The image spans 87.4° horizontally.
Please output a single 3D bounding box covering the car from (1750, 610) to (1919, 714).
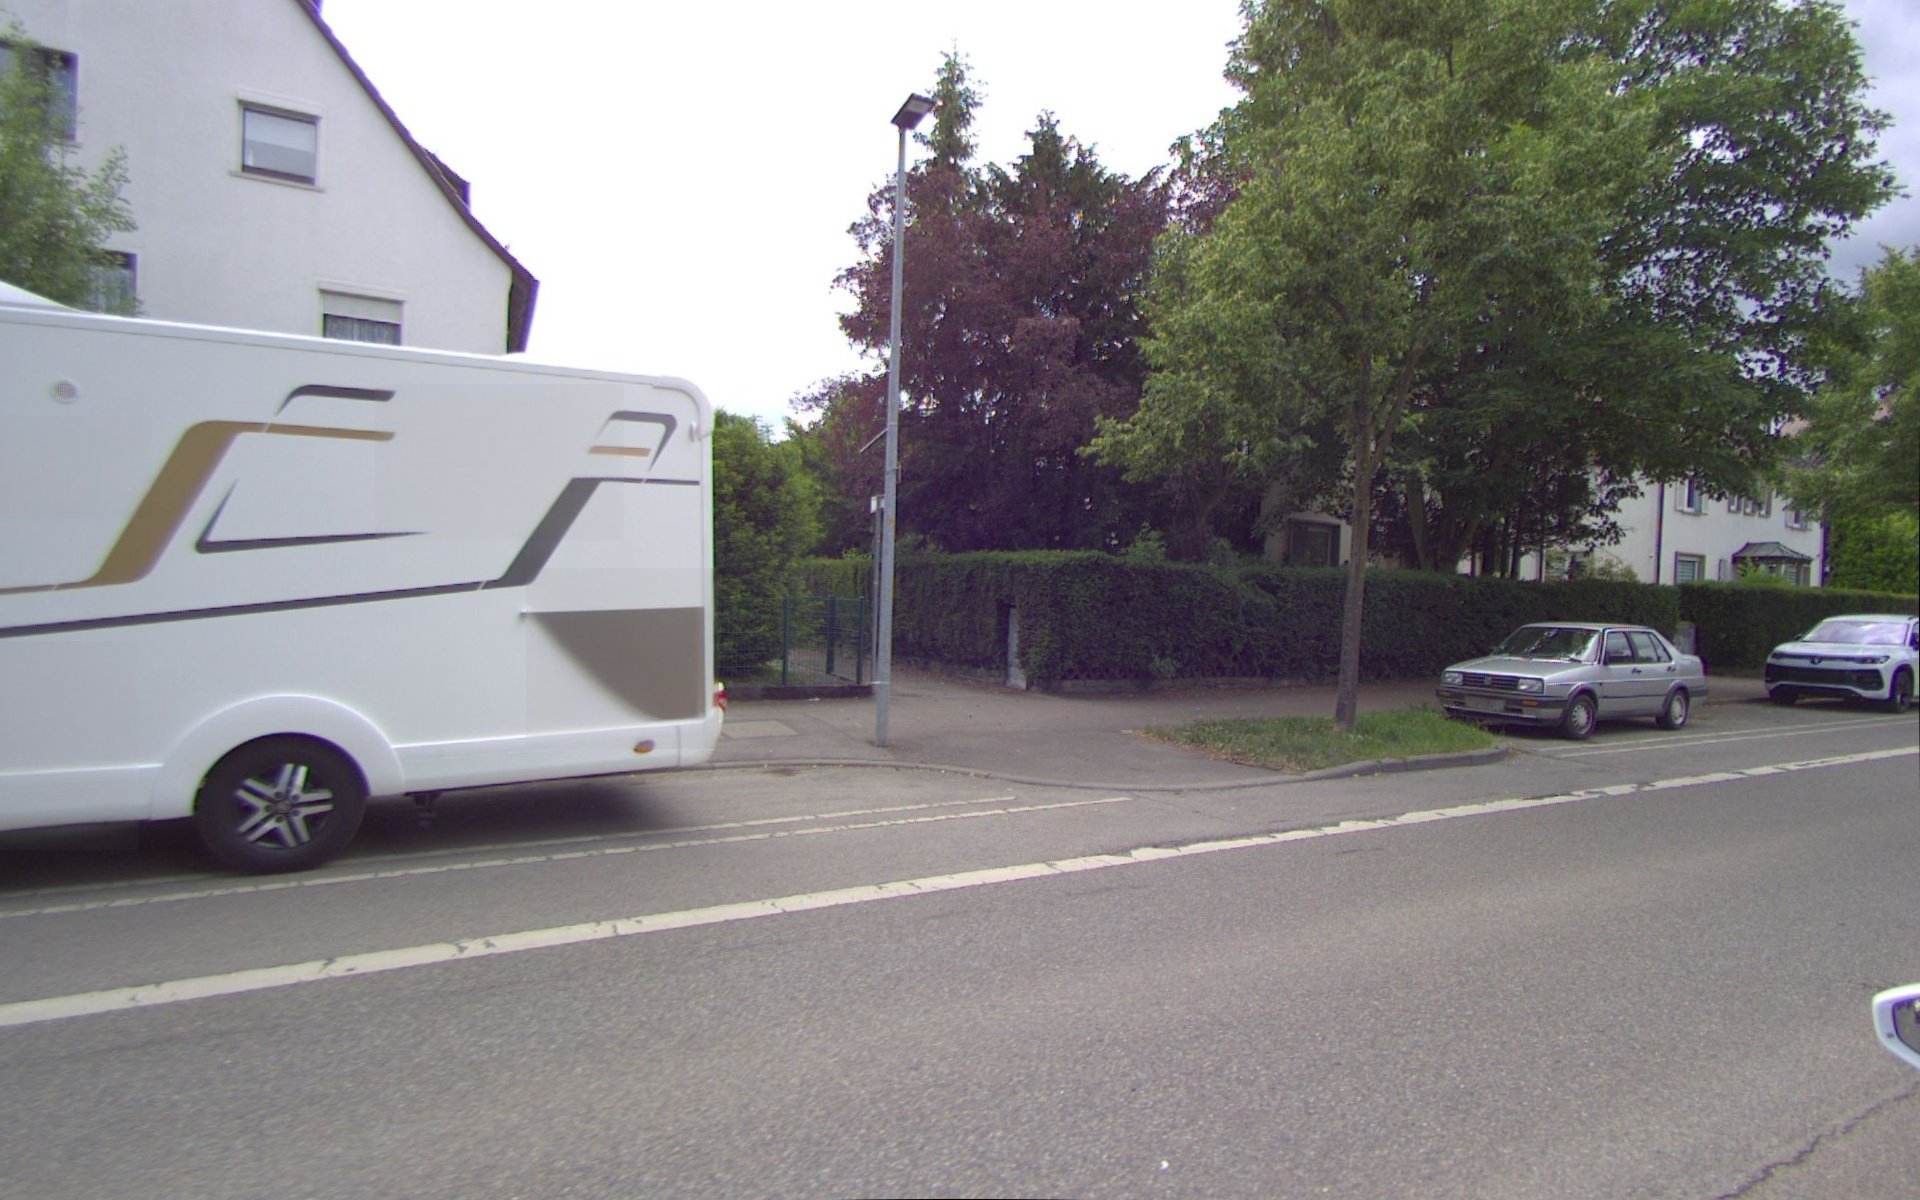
[{"bbox_3d":[16.796,1.077,18.509,4.640,1.674,1.809,1,1,-28],"label":"car"}]

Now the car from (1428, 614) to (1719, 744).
[{"bbox_3d":[8.403,0.983,13.650,4.402,1.490,1.547,1,0,-32],"label":"car"}]

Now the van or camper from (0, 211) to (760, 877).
[{"bbox_3d":[-5.179,-0.265,5.553,7.602,3.049,2.424,1,0,-30],"label":"van or camper"}]
